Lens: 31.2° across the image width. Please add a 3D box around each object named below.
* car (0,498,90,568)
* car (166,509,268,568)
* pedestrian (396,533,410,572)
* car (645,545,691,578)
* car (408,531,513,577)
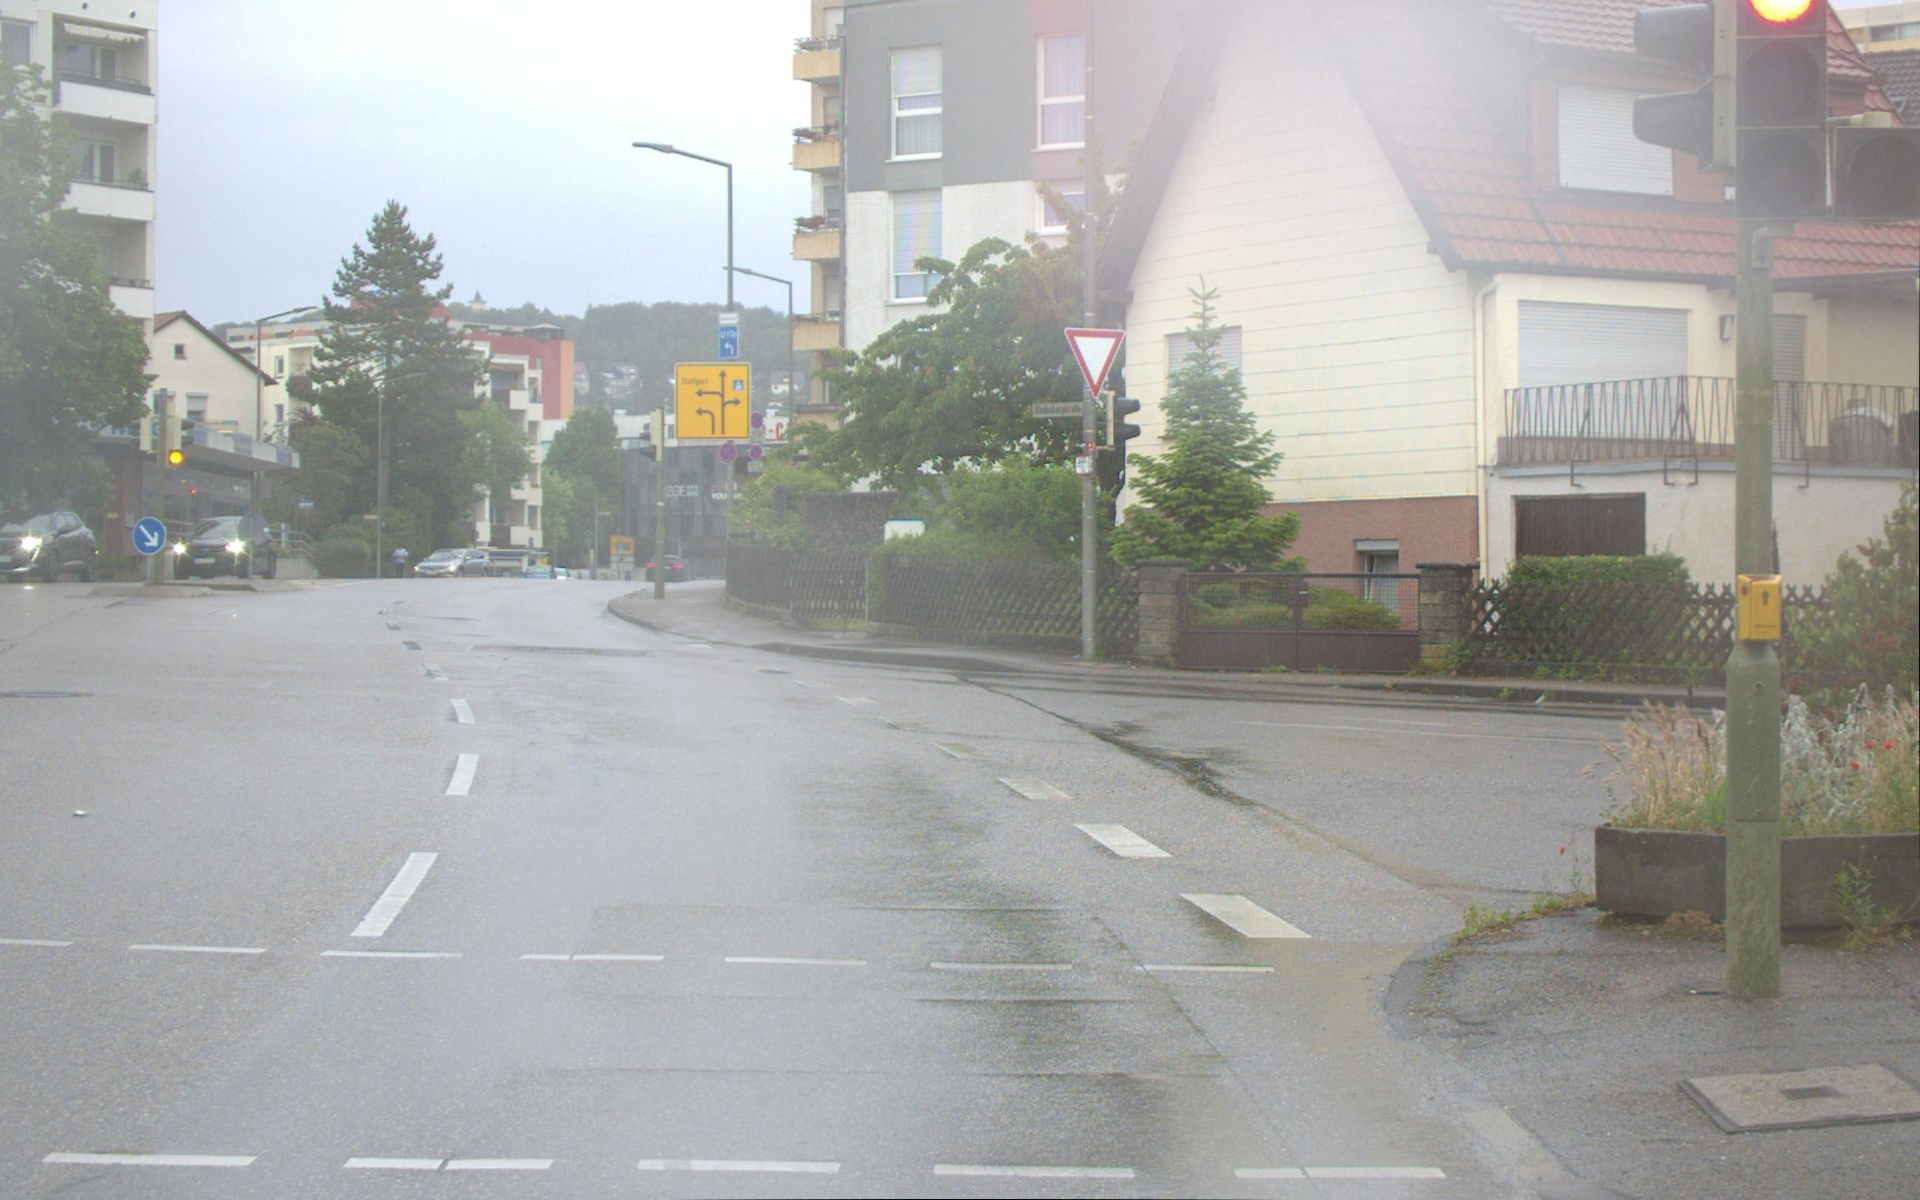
[{"bbox_3d":[-19.035,-1.385,69.975,1.715,1.382,4.021,1,2,-1],"label":"car"},{"bbox_3d":[-18.388,-1.544,85.228,1.778,1.415,3.831,1,2,-1],"label":"car"},{"bbox_3d":[-23.349,-1.995,144.115,0.497,1.652,0.434,1,1,6],"label":"pedestrian"},{"bbox_3d":[-13.587,-1.812,160.126,1.813,1.481,4.189,0,1,0],"label":"car"},{"bbox_3d":[-20.050,-1.854,138.028,3.850,1.809,1.760,-1,2,-41],"label":"car"}]
